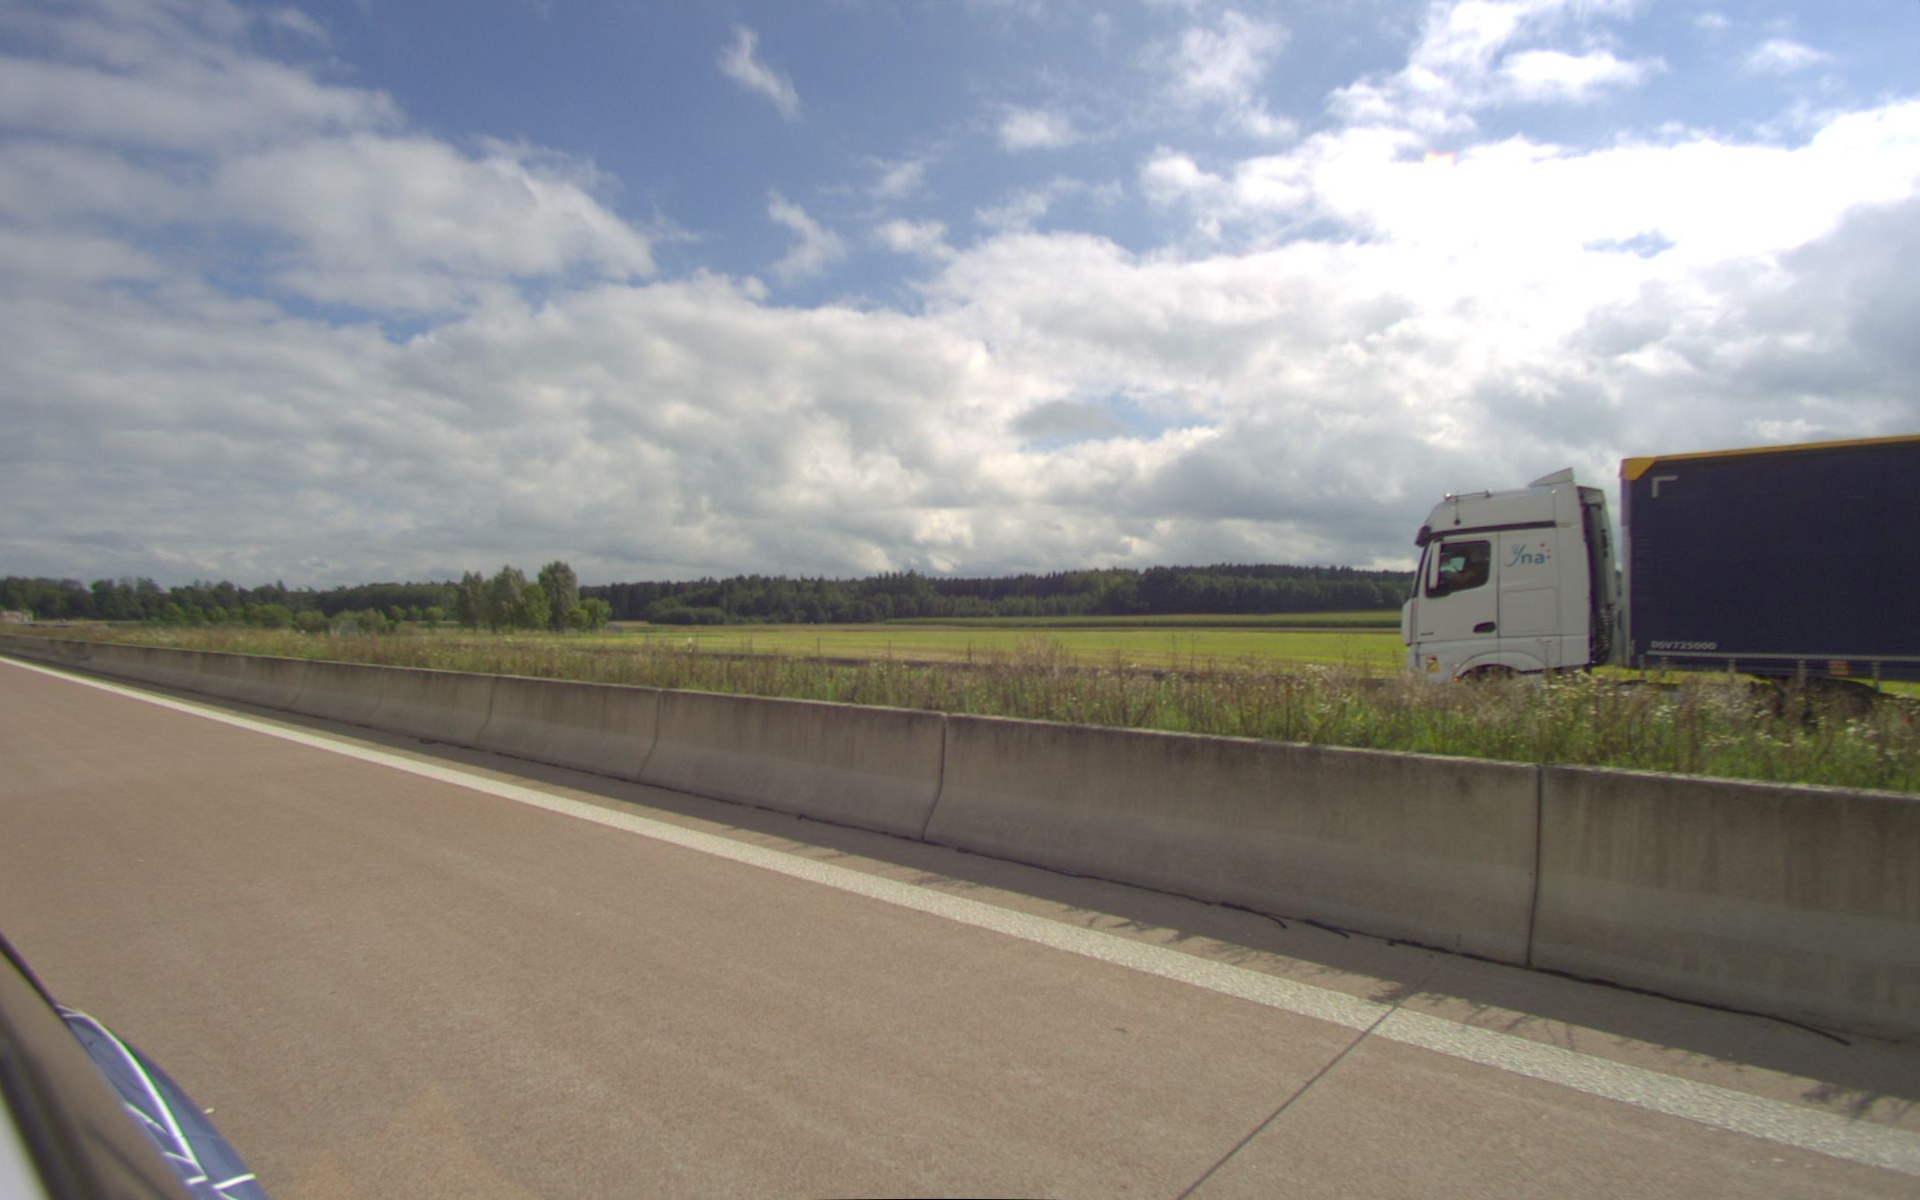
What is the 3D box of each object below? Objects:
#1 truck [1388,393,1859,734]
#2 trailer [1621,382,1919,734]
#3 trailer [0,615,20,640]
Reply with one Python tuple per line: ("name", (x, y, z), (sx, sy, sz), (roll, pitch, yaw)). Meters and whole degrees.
("truck", (9.384, -0.357, 14.636), (5.288, 3.989, 2.741), (-2, -2, 42))
("trailer", (15.016, -0.534, 9.635), (14.325, 3.989, 2.741), (-1, -2, 42))
("trailer", (-165.409, 4.777, 175.163), (12.093, 4.296, 2.989), (-2, -1, 43))
